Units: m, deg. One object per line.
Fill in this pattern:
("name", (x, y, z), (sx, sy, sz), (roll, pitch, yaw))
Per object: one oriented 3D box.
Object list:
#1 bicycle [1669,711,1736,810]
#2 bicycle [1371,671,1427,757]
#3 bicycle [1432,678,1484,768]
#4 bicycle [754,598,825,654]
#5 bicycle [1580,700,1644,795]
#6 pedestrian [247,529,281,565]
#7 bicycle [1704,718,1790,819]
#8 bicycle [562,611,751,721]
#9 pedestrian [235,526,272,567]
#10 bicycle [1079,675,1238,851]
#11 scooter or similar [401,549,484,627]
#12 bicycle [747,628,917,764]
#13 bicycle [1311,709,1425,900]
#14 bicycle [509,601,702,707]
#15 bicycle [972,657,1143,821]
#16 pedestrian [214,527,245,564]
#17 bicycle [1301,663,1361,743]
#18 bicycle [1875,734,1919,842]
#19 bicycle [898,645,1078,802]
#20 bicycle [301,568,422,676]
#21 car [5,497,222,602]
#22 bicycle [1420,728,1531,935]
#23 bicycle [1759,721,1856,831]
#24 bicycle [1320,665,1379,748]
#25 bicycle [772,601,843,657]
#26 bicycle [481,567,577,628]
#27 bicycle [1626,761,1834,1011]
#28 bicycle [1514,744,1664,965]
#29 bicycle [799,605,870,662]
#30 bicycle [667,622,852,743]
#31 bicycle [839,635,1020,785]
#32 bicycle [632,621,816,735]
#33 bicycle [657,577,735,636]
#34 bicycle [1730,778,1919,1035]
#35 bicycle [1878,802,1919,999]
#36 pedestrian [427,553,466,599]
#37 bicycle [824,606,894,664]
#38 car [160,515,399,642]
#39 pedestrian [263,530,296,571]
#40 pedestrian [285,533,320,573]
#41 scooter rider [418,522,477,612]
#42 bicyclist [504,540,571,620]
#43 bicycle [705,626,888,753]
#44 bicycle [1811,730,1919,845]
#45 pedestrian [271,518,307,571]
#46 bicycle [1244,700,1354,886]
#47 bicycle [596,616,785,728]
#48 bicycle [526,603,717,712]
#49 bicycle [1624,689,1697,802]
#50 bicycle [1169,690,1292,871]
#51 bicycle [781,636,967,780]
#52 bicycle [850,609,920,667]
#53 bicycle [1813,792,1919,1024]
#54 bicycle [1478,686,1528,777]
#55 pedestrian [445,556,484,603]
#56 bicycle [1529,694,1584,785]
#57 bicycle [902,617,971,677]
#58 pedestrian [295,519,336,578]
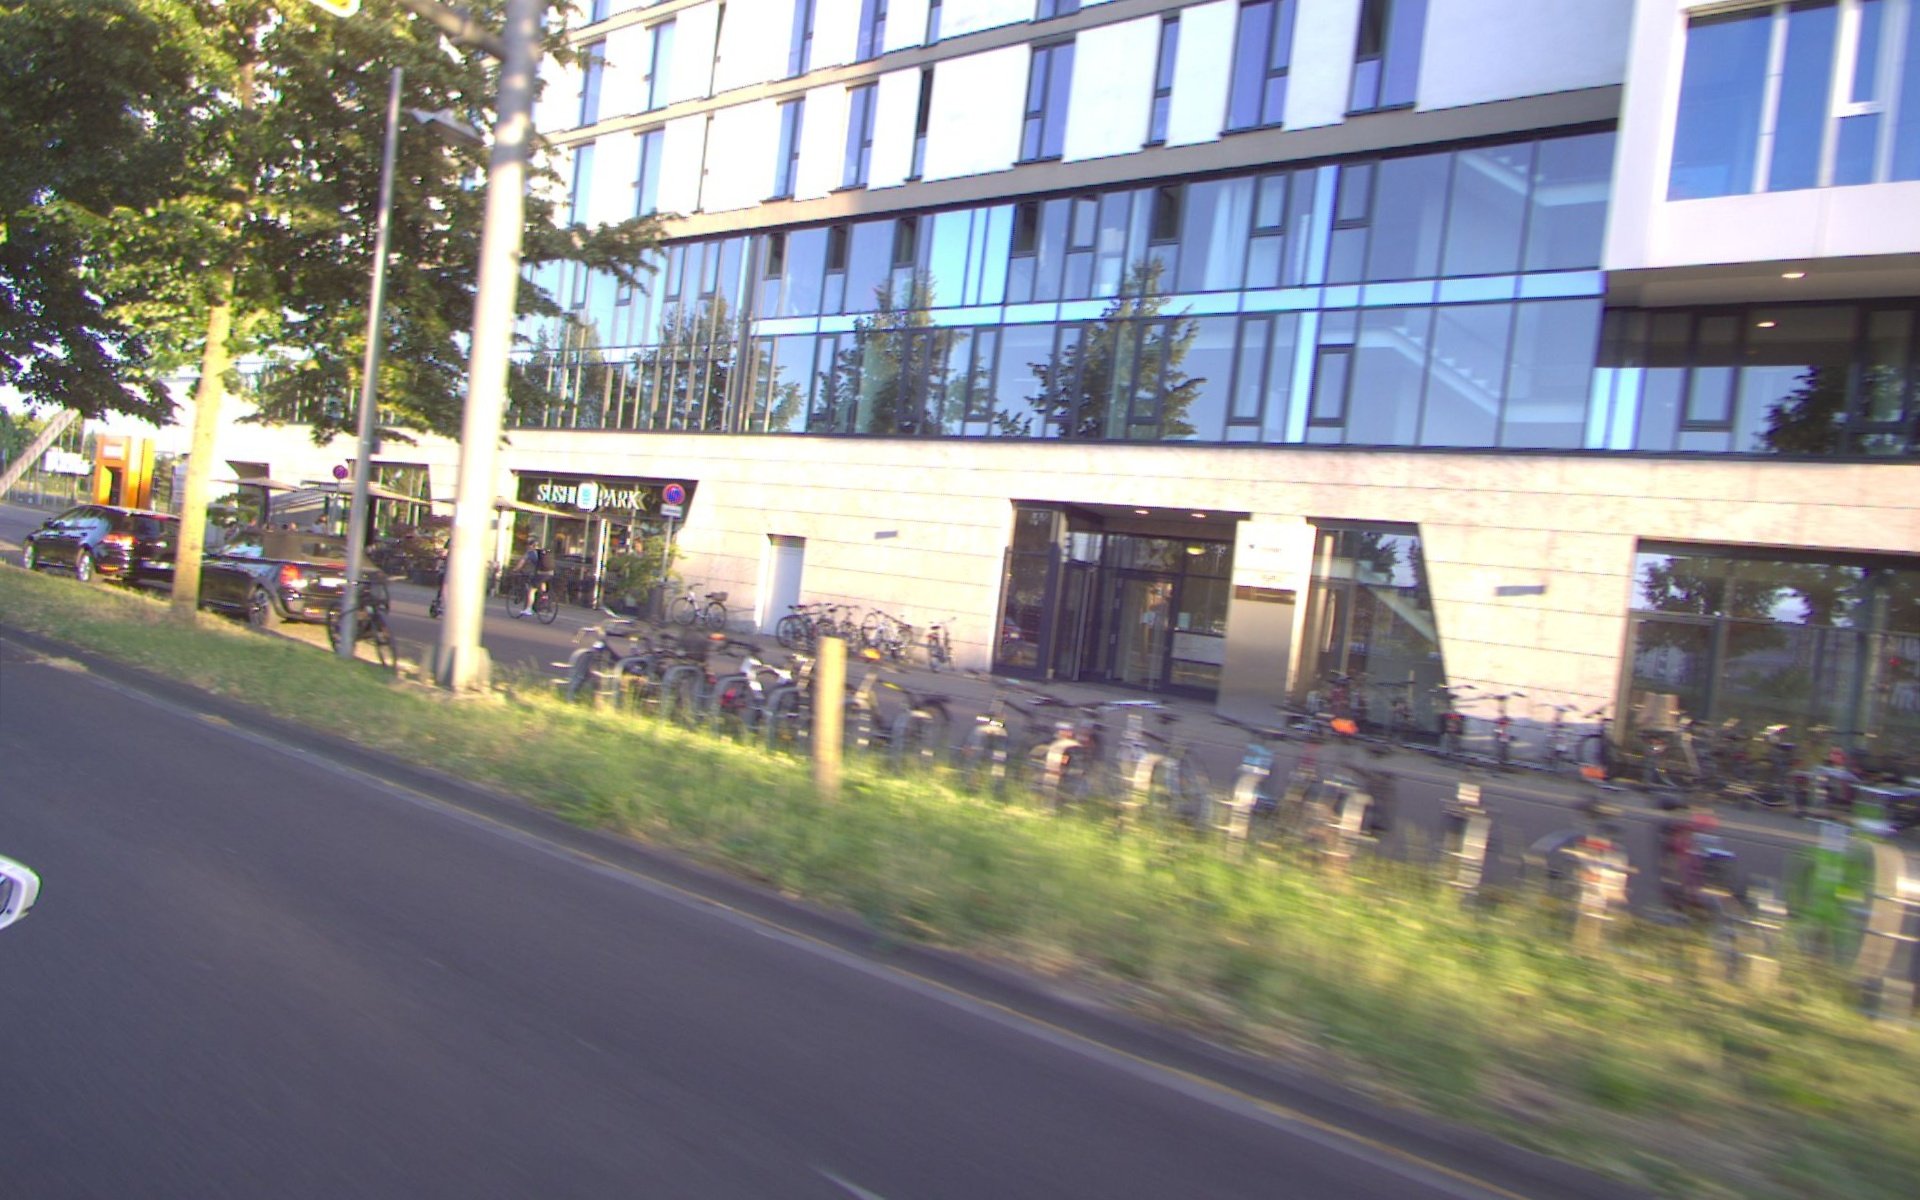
("bicycle", (10.040, 2.133, 13.638), (0.366, 1.138, 1.834), (7, 0, 29))
("bicycle", (6.760, 1.709, 15.449), (0.494, 1.182, 1.986), (7, 0, 29))
("bicycle", (7.524, 1.807, 15.154), (0.494, 1.197, 1.986), (7, 0, 29))
("bicycle", (-3.794, 0.597, 22.490), (0.500, 1.118, 1.788), (7, 0, 27))
("bicycle", (9.098, 2.024, 14.073), (0.494, 1.135, 1.834), (7, 0, 29))
("pedestrian", (-25.206, -1.904, 36.436), (0.708, 1.201, 0.614), (7, 1, -5))
("bicycle", (10.481, 2.209, 13.451), (0.494, 1.127, 1.834), (7, 0, 29))
("bicycle", (-3.048, 0.731, 10.389), (0.435, 0.949, 2.151), (7, -4, 25))
("pedestrian", (-24.013, -1.816, 34.209), (0.703, 1.299, 0.628), (7, 1, 10))
("bicycle", (1.571, 1.192, 7.618), (0.561, 1.065, 2.151), (7, -4, 25))
("scooter or similar", (-10.141, -0.243, 19.699), (1.636, 1.327, 0.526), (7, 1, 30))
("bicycle", (-1.084, 0.907, 9.149), (0.295, 1.065, 2.151), (7, -3, 25))
("bicycle", (2.835, 1.340, 6.887), (0.397, 1.065, 1.948), (7, -4, 29))
("bicycle", (-3.805, 0.640, 11.046), (0.536, 0.949, 2.151), (7, -4, 25))
("bicycle", (0.854, 1.098, 8.058), (0.552, 1.065, 2.151), (7, -4, 25))
("pedestrian", (-26.438, -1.977, 36.397), (0.847, 1.201, 0.572), (7, 1, 33))
("bicycle", (5.969, 1.623, 16.124), (0.494, 1.156, 1.986), (7, 0, 29))
("bicycle", (11.918, 2.319, 12.451), (0.438, 1.192, 1.832), (7, 0, 32))
("bicycle", (0.314, 1.026, 8.362), (0.561, 1.065, 2.151), (7, -4, 25))
("bicycle", (-6.653, 0.229, 11.147), (1.816, 0.992, 0.319), (7, 1, 33))
("car", (-16.225, -0.978, 19.239), (4.216, 1.490, 1.780), (7, 0, 30))
("bicycle", (3.267, 1.393, 6.483), (0.407, 1.065, 1.950), (7, -3, 24))
("bicycle", (10.959, 2.237, 13.064), (0.494, 1.192, 1.834), (7, 0, 29))
("bicycle", (6.127, 1.638, 15.782), (0.494, 1.156, 1.986), (7, 0, 29))
("bicycle", (-3.339, 0.657, 22.193), (0.500, 1.118, 1.788), (7, 0, 27))
("bicycle", (-9.421, -0.064, 21.978), (2.028, 1.093, 0.773), (7, 1, 30))
("bicycle", (4.321, 1.519, 5.776), (0.407, 1.065, 1.950), (7, -3, 24))
("bicycle", (3.831, 1.470, 6.239), (0.407, 1.065, 1.950), (7, -3, 24))
("bicycle", (-2.692, 0.740, 21.737), (0.500, 1.118, 1.788), (7, 0, 27))
("bicycle", (-1.846, 0.837, 9.668), (0.435, 0.983, 2.151), (7, -4, 25))
("bicycle", (-0.182, 0.960, 8.630), (0.515, 1.065, 2.151), (7, -3, 25))
("bicycle", (-2.241, 0.812, 9.904), (0.435, 0.949, 2.152), (7, -4, 24))
("bicycle", (-6.612, 0.143, 25.099), (2.228, 1.223, 0.469), (7, 1, 36))
("bicycle", (4.834, 1.590, 5.584), (0.341, 1.065, 1.950), (7, -3, 24))
("bicycle", (5.436, 1.670, 5.154), (0.401, 1.065, 1.950), (7, -3, 24))
("pedestrian", (-14.701, -0.684, 28.797), (0.793, 1.210, 0.572), (7, 1, 32))
("bicycle", (-2.124, 0.769, 21.399), (0.500, 1.118, 1.788), (7, 0, 27))
("car", (-10.501, -0.358, 15.458), (3.818, 1.490, 1.577), (7, 0, 33))
("pedestrian", (-23.381, -1.714, 34.582), (0.726, 1.299, 0.580), (7, 1, 28))
("pedestrian", (-23.025, -1.646, 35.218), (0.725, 1.299, 0.581), (7, 1, 14))
("scooter rider", (-10.000, -0.639, 19.621), (0.818, 1.659, 0.526), (7, 1, 30))
("bicyclist", (-9.181, -0.431, 21.879), (0.975, 1.586, 0.773), (7, 1, 30))
("bicycle", (-1.444, 0.871, 9.387), (0.435, 0.997, 2.151), (7, -4, 25))
("bicycle", (11.426, 2.321, 12.749), (0.494, 1.192, 1.834), (7, 0, 29))
("pedestrian", (-23.729, -1.965, 35.583), (0.686, 1.739, 0.636), (7, 1, 12))
("bicycle", (2.415, 1.285, 7.029), (0.397, 1.065, 1.950), (7, -3, 25))
("bicycle", (-2.638, 0.775, 10.150), (0.444, 0.949, 2.151), (7, -4, 25))
("bicycle", (-3.477, 0.652, 10.593), (0.435, 0.949, 2.151), (7, -4, 25))
("bicycle", (9.626, 1.954, 13.876), (0.494, 1.374, 1.834), (7, 0, 29))
("bicycle", (1.979, 1.237, 7.168), (0.397, 1.065, 1.950), (7, -3, 25))
("bicycle", (-0.680, 0.973, 8.920), (0.515, 1.065, 2.151), (7, -3, 25))
("bicycle", (-1.551, 0.825, 21.171), (0.500, 1.118, 1.788), (7, 0, 27))
("bicycle", (5.101, 1.624, 5.294), (0.309, 1.065, 1.950), (7, -3, 24))
("bicycle", (7.989, 1.893, 14.807), (0.494, 1.155, 1.986), (7, 0, 29))
("pedestrian", (-13.938, -0.585, 28.277), (0.793, 1.210, 0.572), (7, 1, 34))
("bicycle", (8.543, 1.962, 14.454), (0.494, 1.113, 1.986), (7, 0, 29))
("bicycle", (-0.444, 0.967, 20.372), (0.500, 1.118, 1.788), (7, 0, 27))
("pedestrian", (-20.752, -1.645, 32.401), (0.676, 1.759, 0.705), (7, 1, 2))
